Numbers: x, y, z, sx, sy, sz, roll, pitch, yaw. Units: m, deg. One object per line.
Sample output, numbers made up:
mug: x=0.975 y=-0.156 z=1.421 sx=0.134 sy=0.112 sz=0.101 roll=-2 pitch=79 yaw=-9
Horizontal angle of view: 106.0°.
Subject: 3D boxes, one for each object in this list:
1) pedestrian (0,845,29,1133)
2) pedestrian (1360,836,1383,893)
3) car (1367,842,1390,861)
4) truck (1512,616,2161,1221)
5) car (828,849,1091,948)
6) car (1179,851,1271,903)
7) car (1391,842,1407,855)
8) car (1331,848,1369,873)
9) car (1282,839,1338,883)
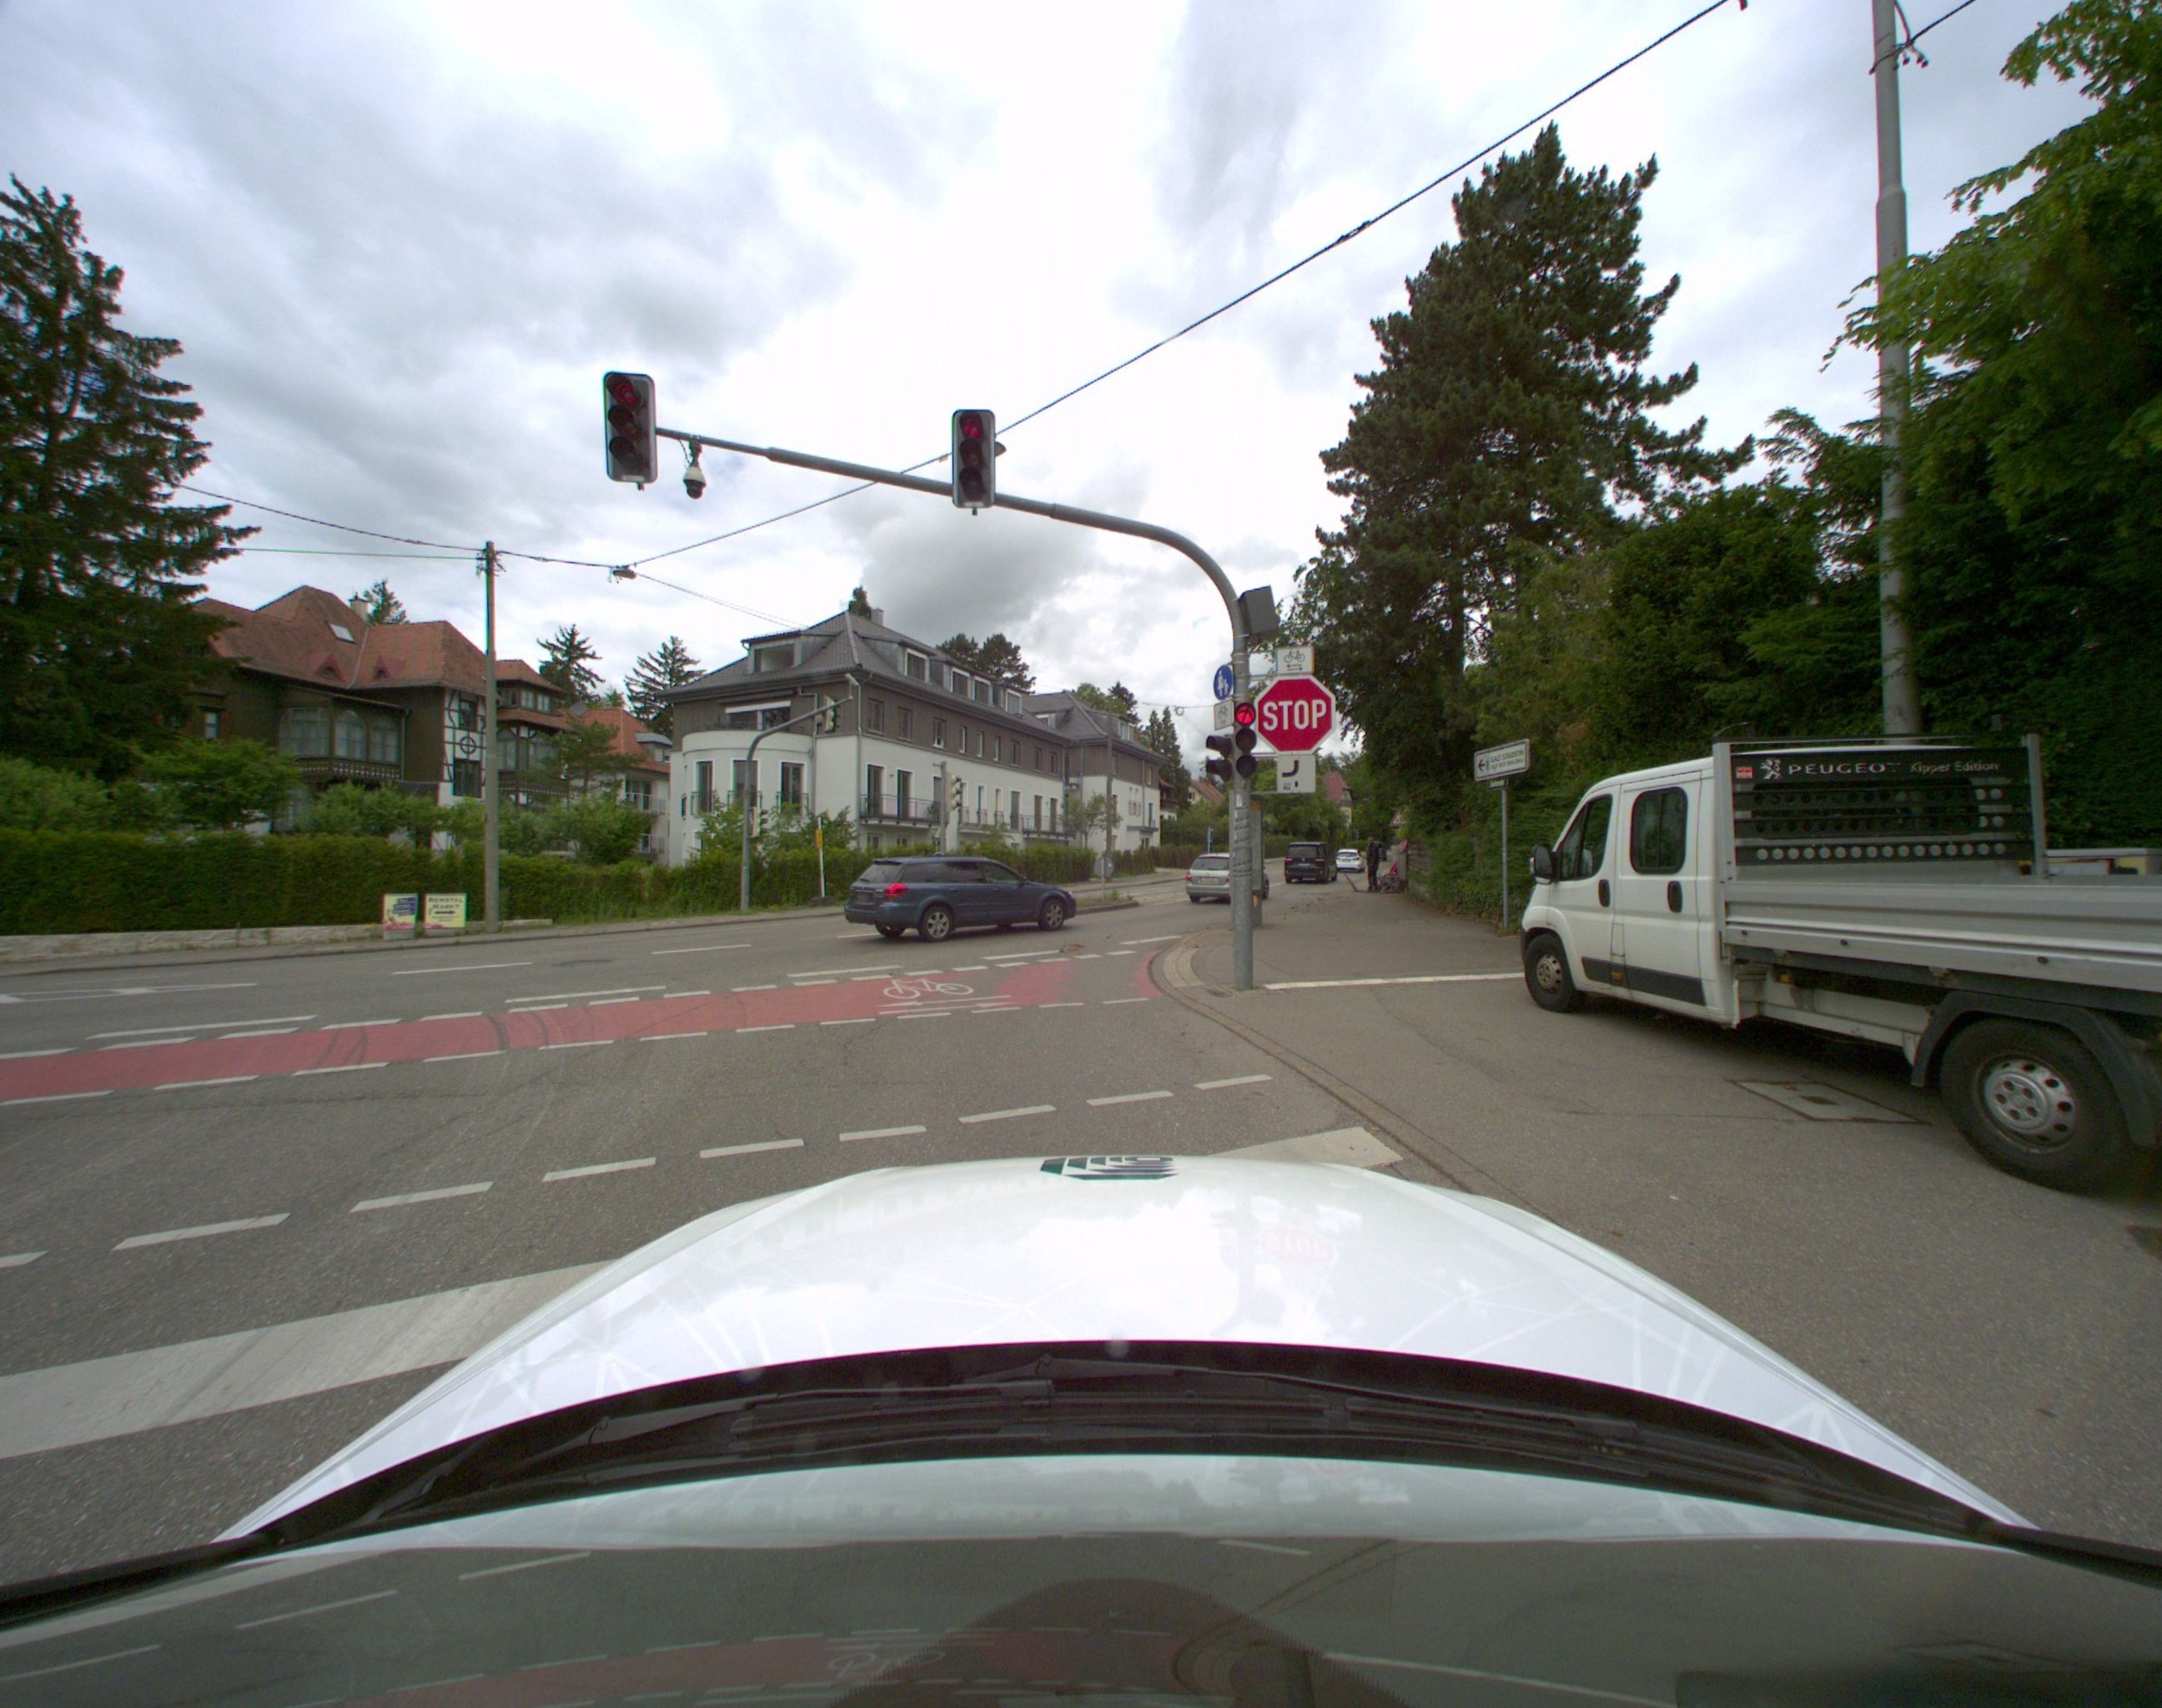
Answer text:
pedestrian: x=-6.461 y=0.780 z=4.400 sx=0.743 sy=1.633 sz=0.676 roll=-3 pitch=1 yaw=-37
pedestrian: x=9.799 y=0.347 z=27.495 sx=0.594 sy=1.907 sz=0.559 roll=0 pitch=-1 yaw=2
car: x=30.398 y=-0.246 z=83.144 sx=1.922 sy=1.825 sz=4.101 roll=1 pitch=1 yaw=24
truck: x=5.249 y=0.240 z=5.246 sx=2.198 sy=2.243 sz=5.728 roll=0 pitch=0 yaw=4
car: x=-2.164 y=0.734 z=15.553 sx=4.769 sy=1.527 sz=1.783 roll=-2 pitch=0 yaw=-43
car: x=4.479 y=0.654 z=24.998 sx=1.678 sy=1.430 sz=3.771 roll=-2 pitch=0 yaw=27
car: x=45.567 y=-0.836 z=116.561 sx=1.922 sy=1.825 sz=4.101 roll=1 pitch=1 yaw=24
car: x=17.116 y=0.361 z=51.774 sx=1.824 sy=1.459 sz=4.101 roll=1 pitch=1 yaw=25
car: x=10.871 y=0.271 z=38.497 sx=1.902 sy=1.894 sz=4.935 roll=1 pitch=1 yaw=23
